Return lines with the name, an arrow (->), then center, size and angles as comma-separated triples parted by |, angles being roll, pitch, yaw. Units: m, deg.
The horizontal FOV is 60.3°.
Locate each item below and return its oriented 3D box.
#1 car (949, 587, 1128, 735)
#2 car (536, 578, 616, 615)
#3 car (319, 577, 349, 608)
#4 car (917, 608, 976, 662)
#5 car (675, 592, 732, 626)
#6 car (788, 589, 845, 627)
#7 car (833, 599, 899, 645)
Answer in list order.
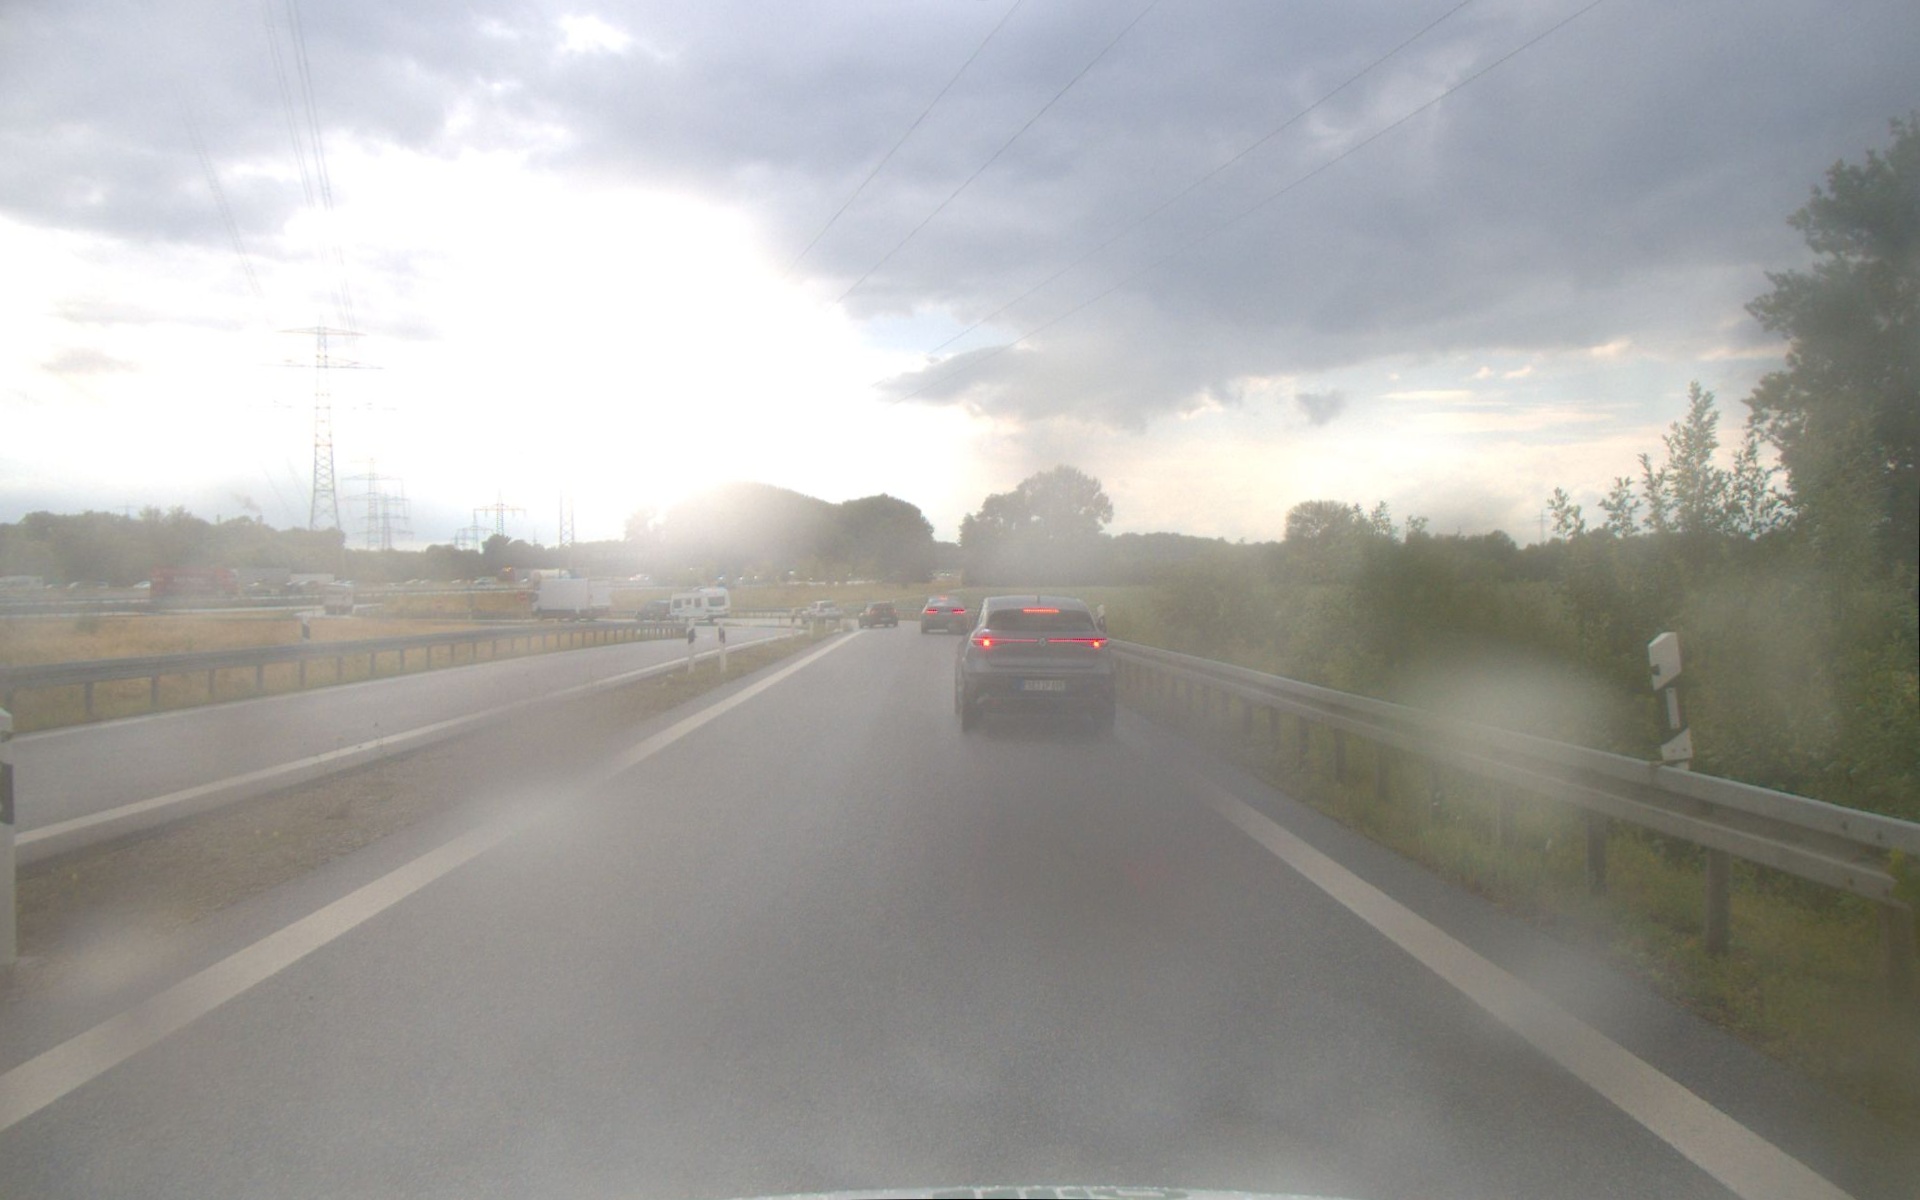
car -> 0.903, 0.661, 20.328 | 1.952, 1.594, 4.150 | 1, 0, 1
car -> -33.383, -0.348, 143.614 | 7.072, 3.002, 3.132 | 2, 3, 39
car -> -76.721, -0.877, 202.717 | 3.334, 3.673, 8.989 | -1, 0, -21
car -> -0.608, 1.391, 68.666 | 2.079, 2.053, 5.530 | -1, 1, -4
car -> -19.895, 0.685, 128.248 | 2.333, 2.347, 5.063 | -2, 3, -36
car -> -9.935, 0.517, 114.032 | 2.321, 2.347, 5.089 | -1, 3, -25
car -> -5.531, 1.264, 96.773 | 2.319, 2.347, 5.094 | -1, 3, -23
